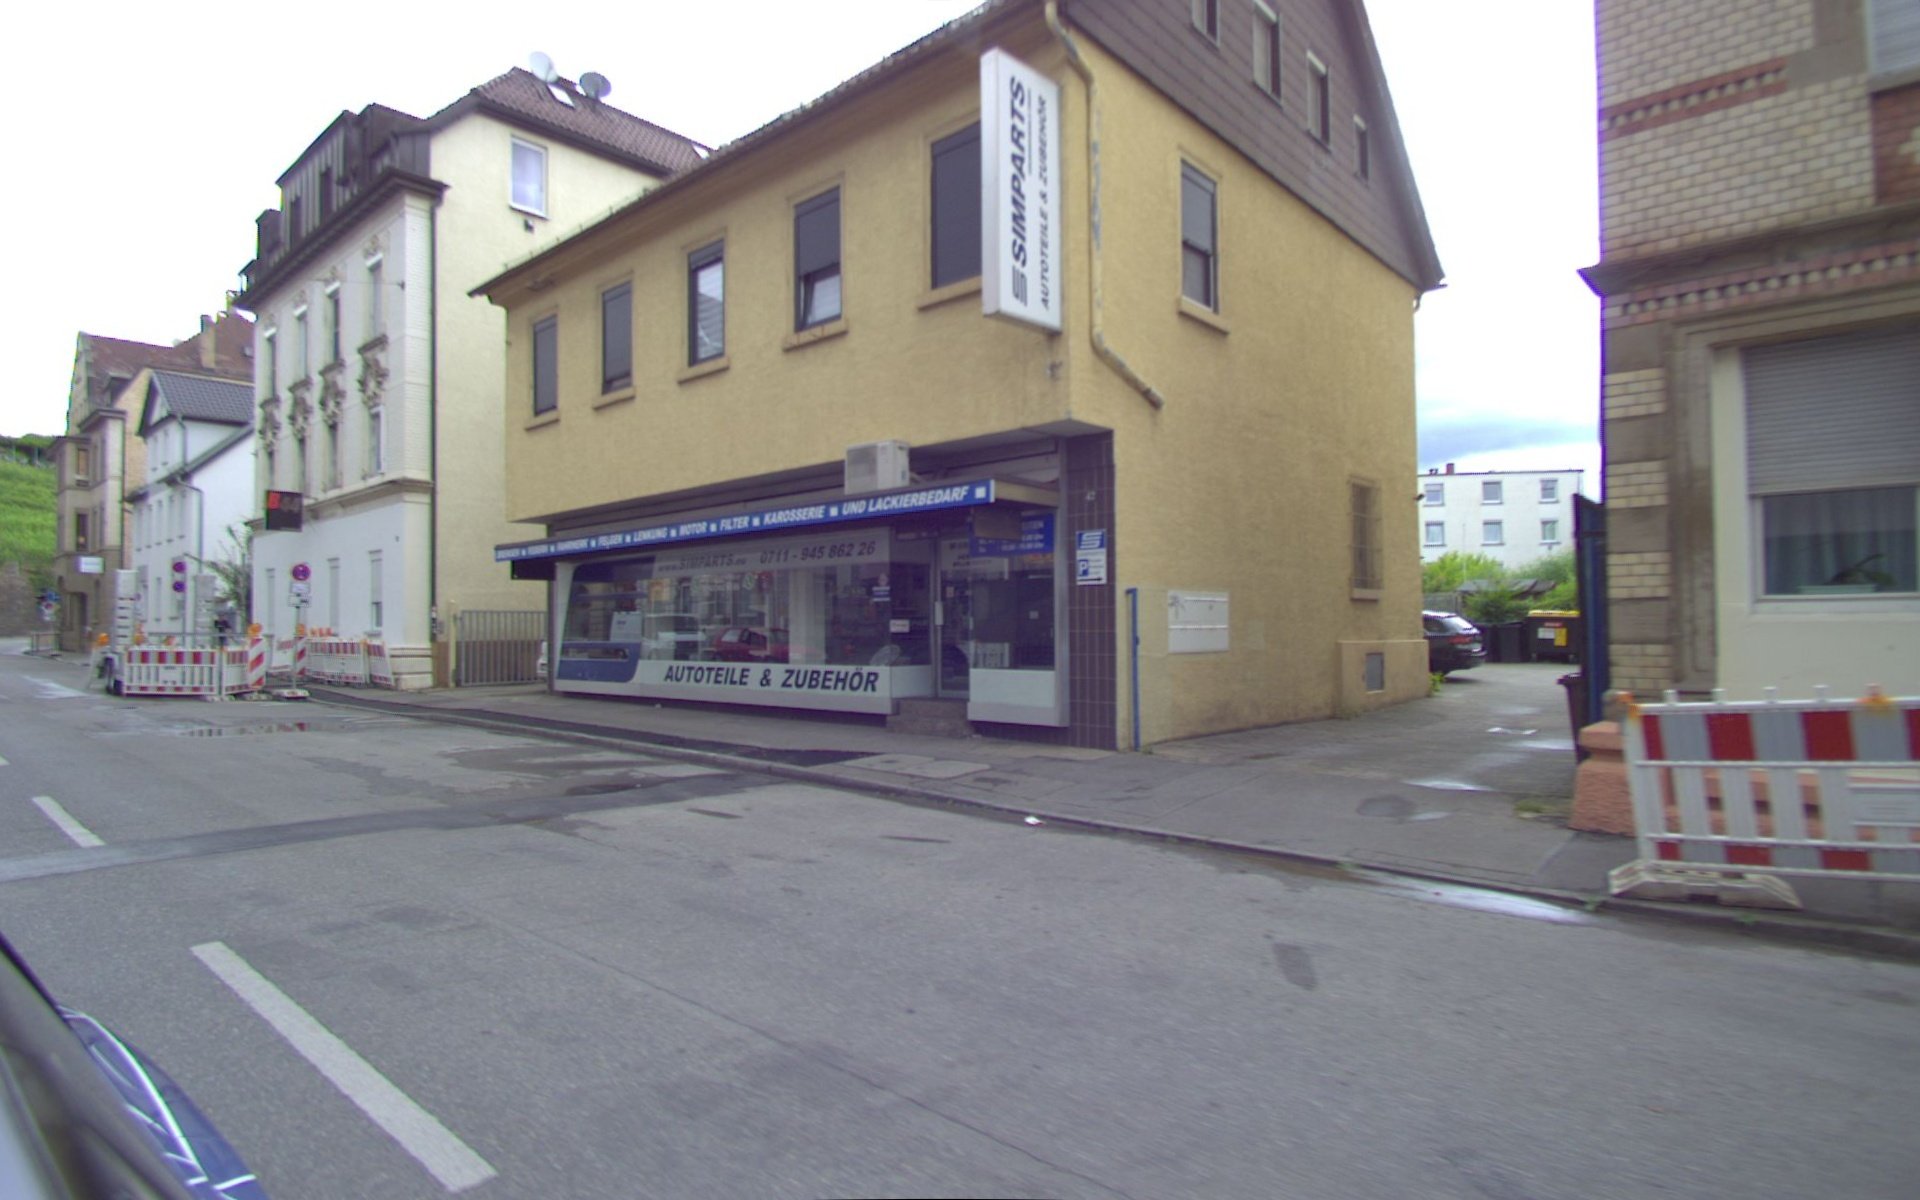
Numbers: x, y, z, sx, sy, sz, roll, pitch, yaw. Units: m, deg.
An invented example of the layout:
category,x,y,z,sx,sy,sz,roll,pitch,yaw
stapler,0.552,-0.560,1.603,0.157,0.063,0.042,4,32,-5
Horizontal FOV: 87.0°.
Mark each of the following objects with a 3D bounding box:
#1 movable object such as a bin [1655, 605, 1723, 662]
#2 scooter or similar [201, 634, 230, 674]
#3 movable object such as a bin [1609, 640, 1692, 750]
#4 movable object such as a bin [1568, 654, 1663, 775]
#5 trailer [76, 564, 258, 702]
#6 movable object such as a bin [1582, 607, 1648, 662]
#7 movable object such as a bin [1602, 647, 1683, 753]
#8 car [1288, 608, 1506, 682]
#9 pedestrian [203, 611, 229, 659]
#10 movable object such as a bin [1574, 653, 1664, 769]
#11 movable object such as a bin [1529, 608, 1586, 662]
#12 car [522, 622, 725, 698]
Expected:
category,x,y,z,sx,sy,sz,roll,pitch,yaw
movable object such as a bin,17.623,0.815,24.498,1.187,1.345,0.727,-1,-1,25
scooter or similar,-25.200,1.831,34.257,1.227,1.300,0.554,-1,-1,42
movable object such as a bin,7.767,1.046,11.381,0.662,1.165,0.579,-2,-2,44
movable object such as a bin,5.974,1.019,9.221,0.613,1.043,0.585,-2,-4,44
trailer,-18.795,0.781,23.843,6.304,2.825,2.418,-2,-3,44
movable object such as a bin,16.274,0.858,25.176,1.251,1.345,0.727,-1,-1,25
movable object such as a bin,7.369,1.054,10.926,0.613,1.081,0.581,-2,-2,44
car,9.485,0.946,22.206,1.775,1.475,4.005,1,-2,-42
pedestrian,-25.165,1.169,34.218,0.607,1.578,0.594,-1,-1,41
movable object such as a bin,6.404,1.054,9.830,0.613,1.043,0.585,-2,-2,44
movable object such as a bin,15.160,0.880,25.701,1.157,1.345,0.727,-1,-1,25
car,-7.292,1.235,22.221,1.723,1.497,3.948,-1,-2,38
